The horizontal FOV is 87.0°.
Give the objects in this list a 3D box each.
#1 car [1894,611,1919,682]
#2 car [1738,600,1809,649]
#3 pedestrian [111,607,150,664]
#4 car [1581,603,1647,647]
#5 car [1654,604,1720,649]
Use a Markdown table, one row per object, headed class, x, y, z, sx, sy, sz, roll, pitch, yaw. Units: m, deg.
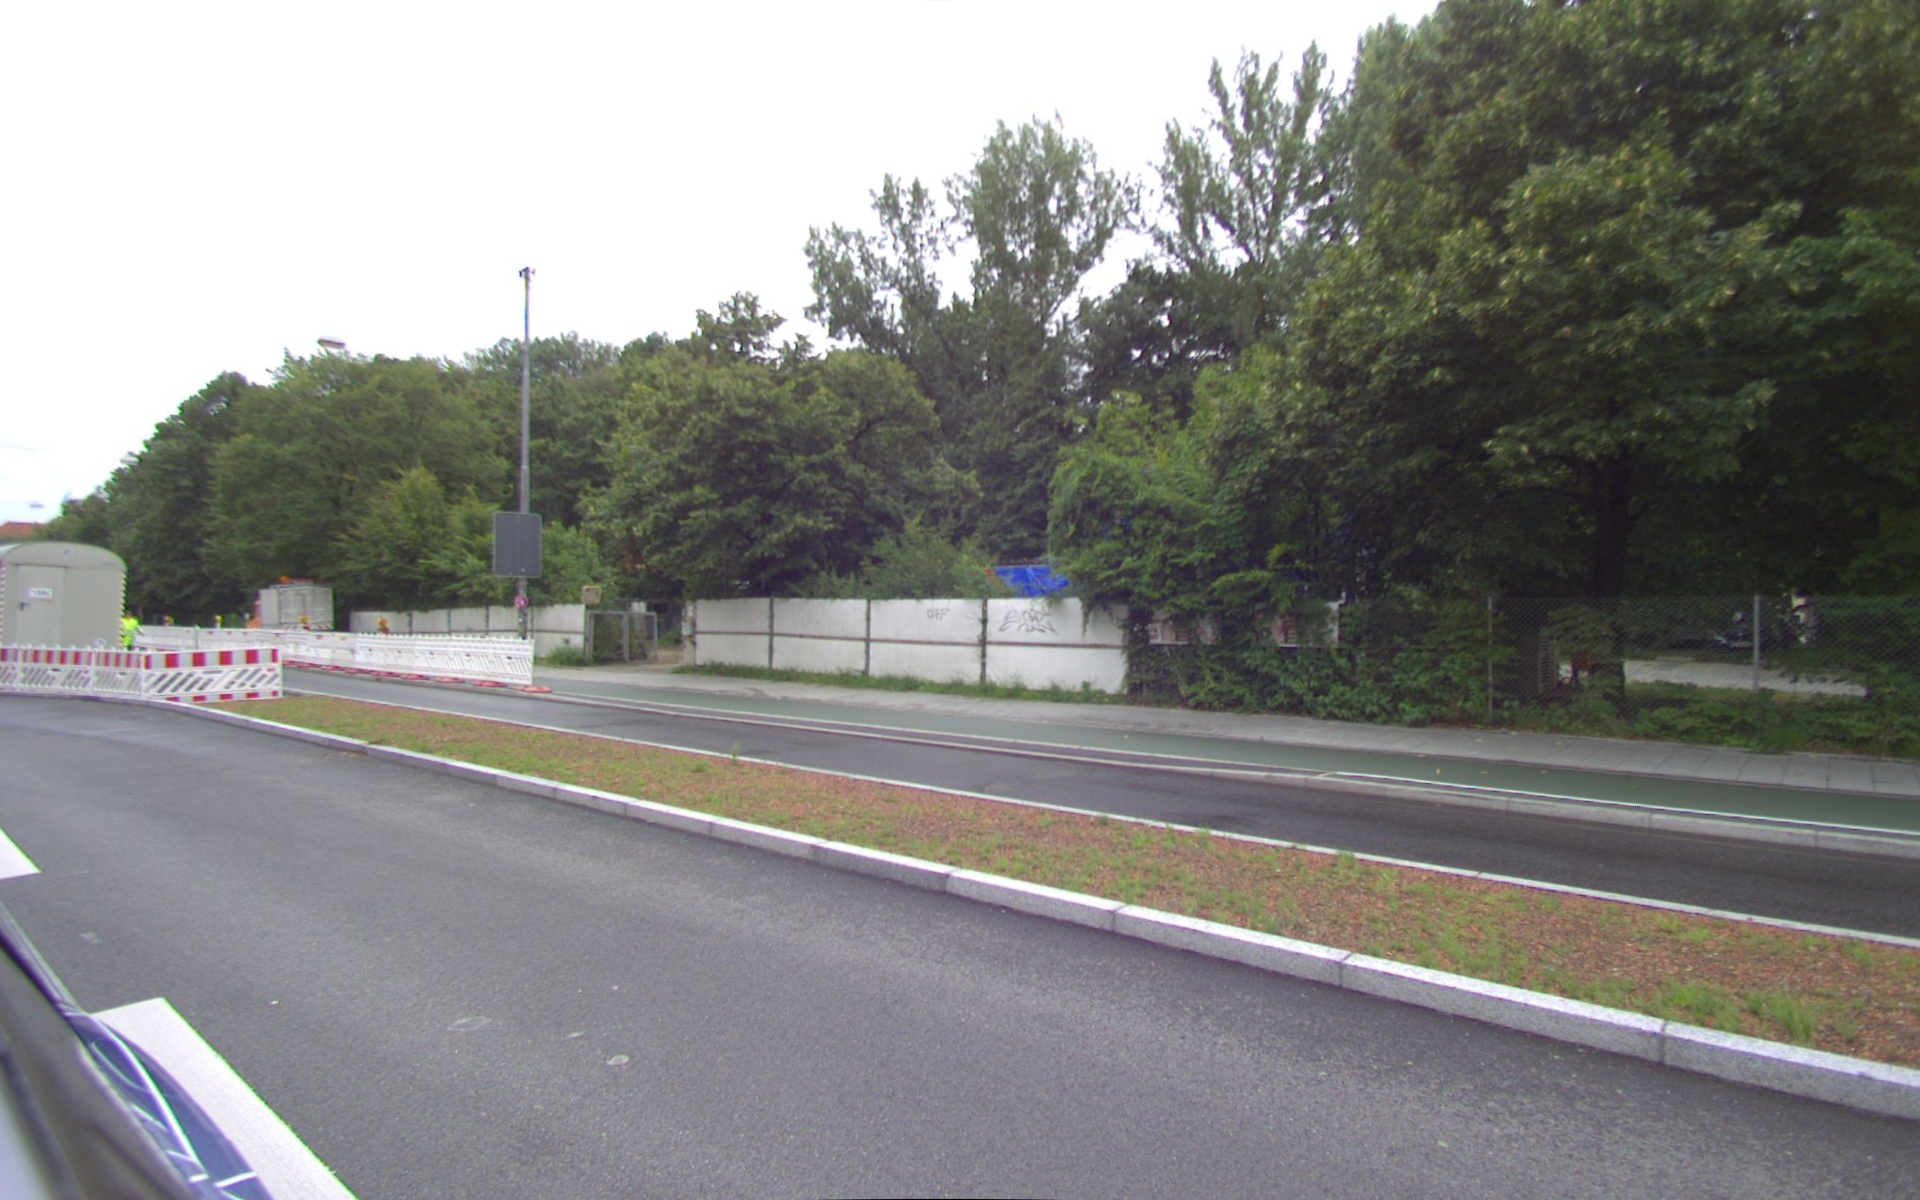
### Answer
| class | x | y | z | sx | sy | sz | roll | pitch | yaw |
| --- | --- | --- | --- | --- | --- | --- | --- | --- | --- |
| car | 22.958 | 1.009 | 21.820 | 3.996 | 1.556 | 1.753 | -1 | -2 | 39 |
| car | 30.797 | 0.926 | 38.385 | 1.997 | 1.732 | 3.949 | -1 | -2 | 38 |
| pedestrian | -29.173 | 1.252 | 35.587 | 0.874 | 1.956 | 0.879 | -1 | -2 | 38 |
| car | 27.138 | 1.032 | 41.925 | 1.997 | 1.732 | 3.950 | -1 | -2 | 37 |
| car | 29.271 | 1.057 | 40.690 | 1.997 | 1.732 | 3.949 | -1 | -2 | 38 |
